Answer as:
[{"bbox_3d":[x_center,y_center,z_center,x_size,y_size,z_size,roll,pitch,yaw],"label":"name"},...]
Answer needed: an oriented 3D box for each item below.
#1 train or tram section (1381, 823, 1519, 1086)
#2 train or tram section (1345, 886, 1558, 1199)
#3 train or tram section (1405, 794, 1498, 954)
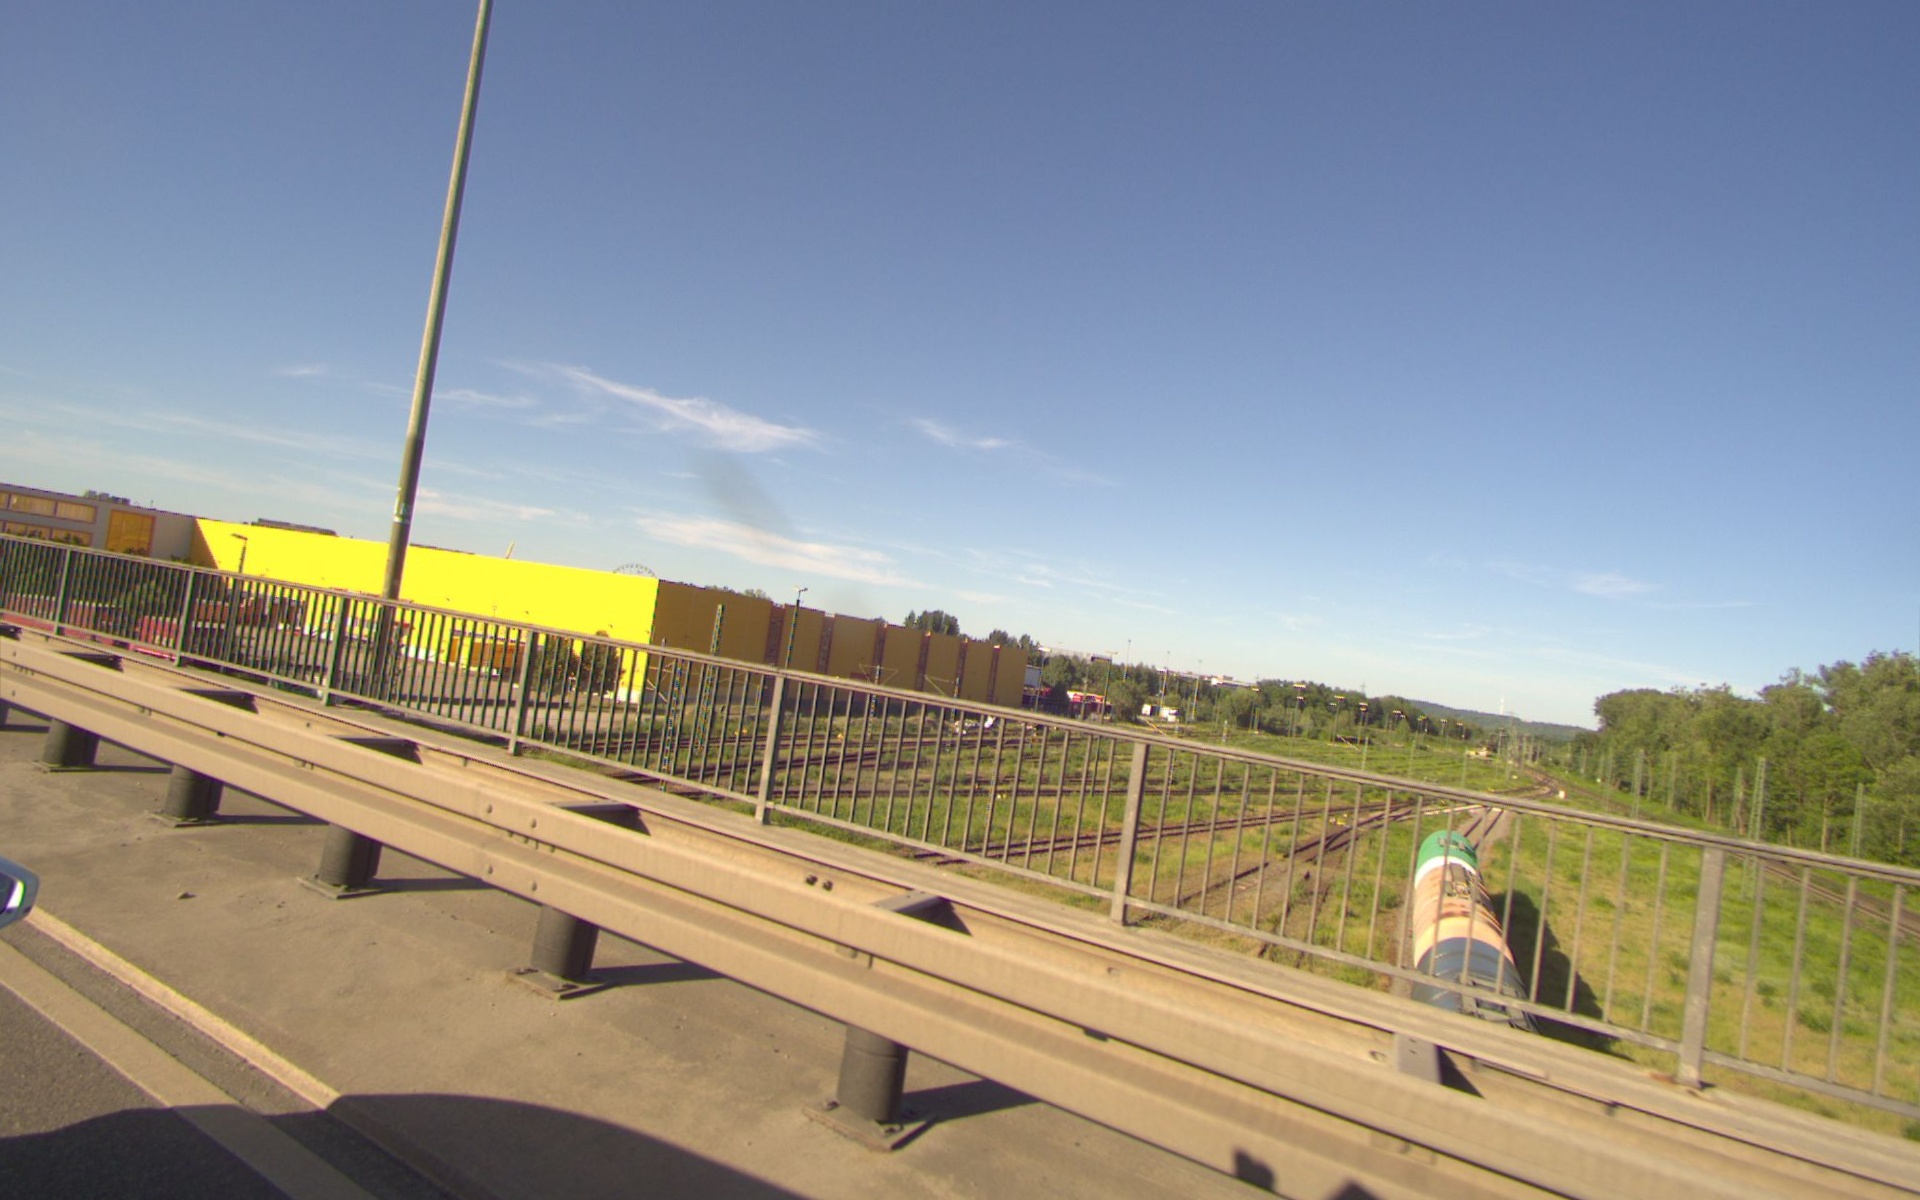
[{"bbox_3d":[18.885,12.584,38.808,3.278,5.323,16.872,7,-1,26],"label":"train or tram section"},{"bbox_3d":[12.250,11.389,25.365,3.278,5.327,13.077,7,-1,26],"label":"train or tram section"},{"bbox_3d":[25.954,13.857,53.148,3.278,5.244,15.171,7,-1,26],"label":"train or tram section"}]
